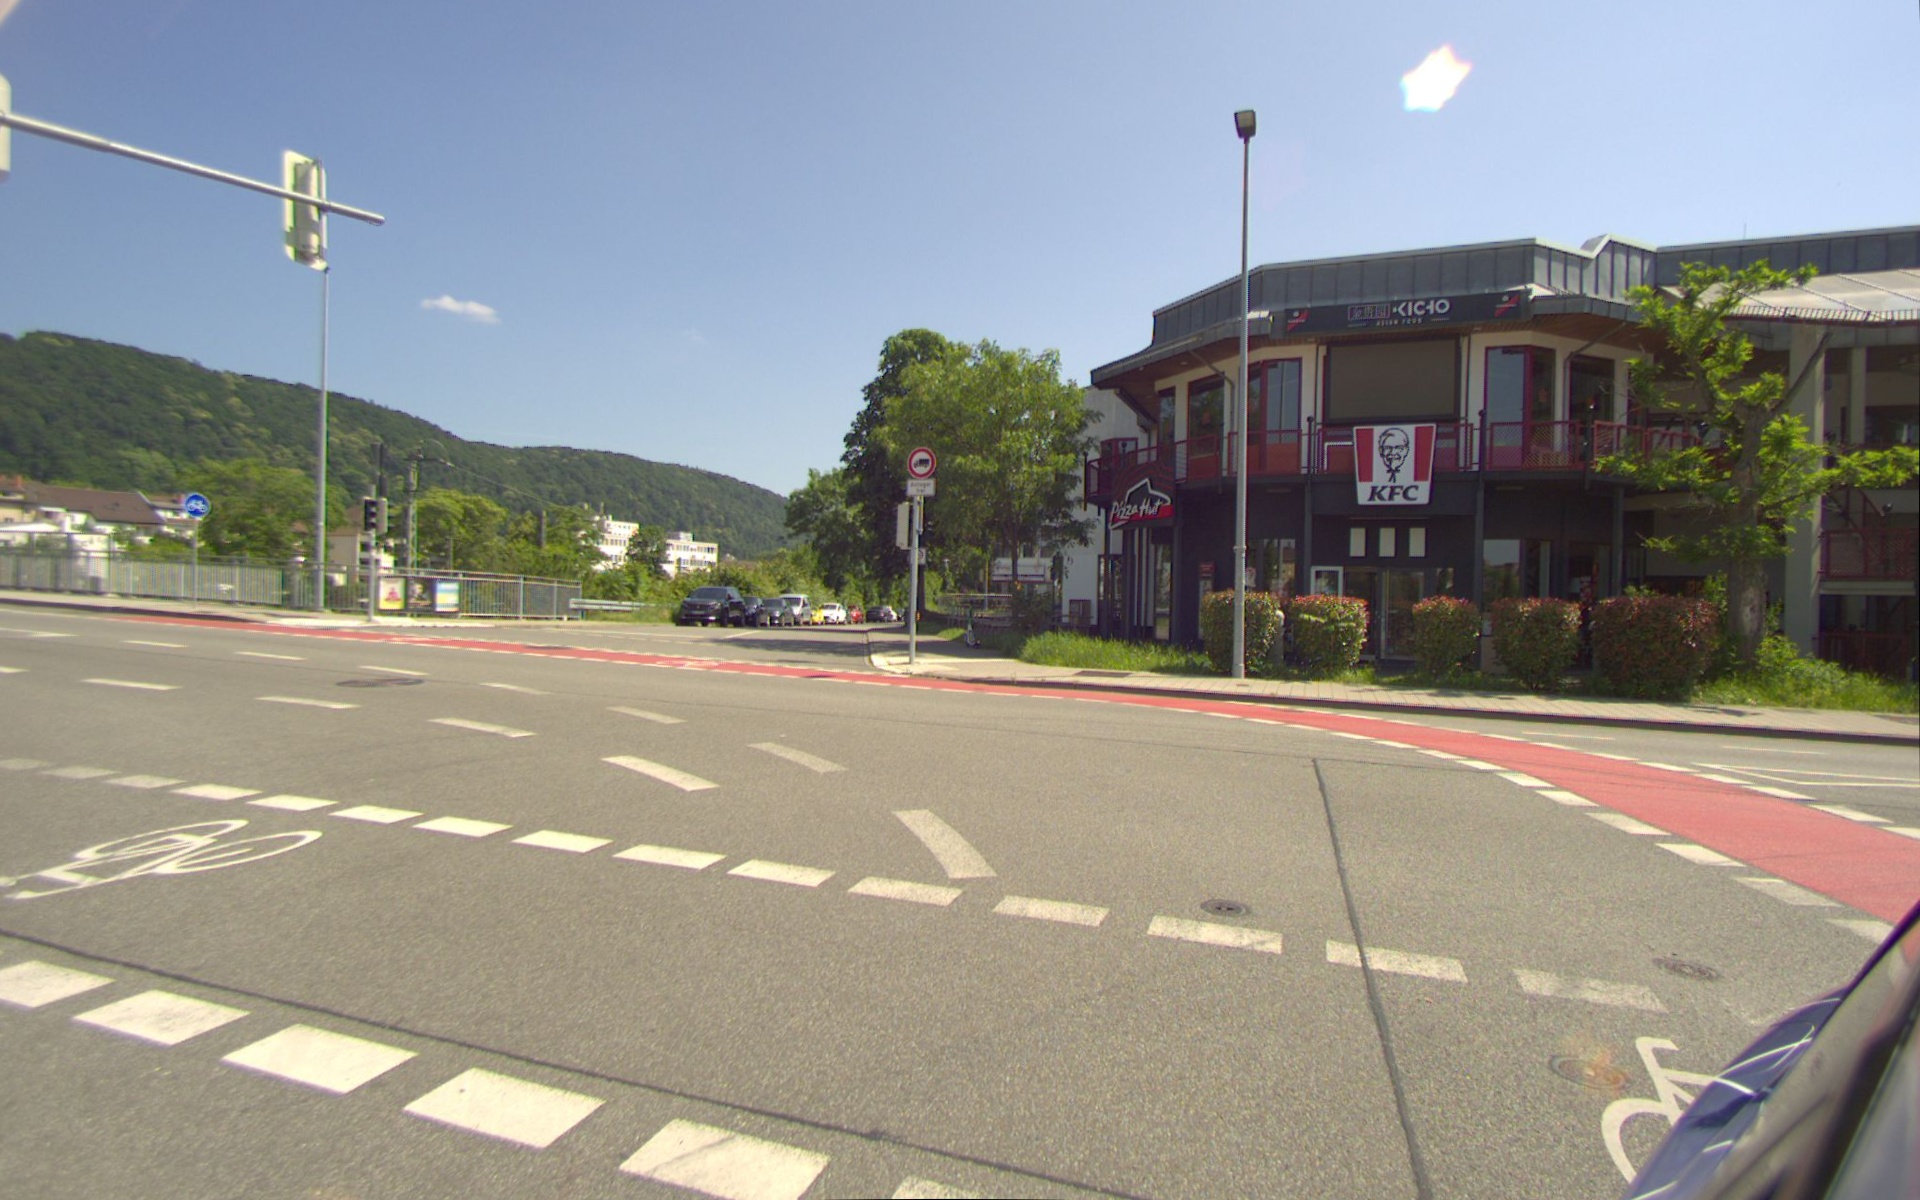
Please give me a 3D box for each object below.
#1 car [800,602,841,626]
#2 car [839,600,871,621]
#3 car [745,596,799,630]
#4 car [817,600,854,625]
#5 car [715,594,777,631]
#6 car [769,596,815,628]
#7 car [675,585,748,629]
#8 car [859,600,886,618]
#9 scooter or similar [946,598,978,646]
[{"bbox_3d":[-8.502,0.840,61.850,1.644,1.334,3.995,1,1,5],"label":"car"},{"bbox_3d":[-7.892,0.796,76.099,1.644,1.453,3.995,1,1,5],"label":"car"},{"bbox_3d":[-9.377,0.608,50.759,1.643,1.552,3.995,1,1,4],"label":"car"},{"bbox_3d":[-8.340,0.791,68.224,1.644,1.552,3.995,1,1,5],"label":"car"},{"bbox_3d":[-9.651,0.525,45.938,1.644,1.552,3.994,1,1,5],"label":"car"},{"bbox_3d":[-9.310,0.617,56.368,1.643,1.655,3.996,1,1,4],"label":"car"},{"bbox_3d":[-9.938,0.234,40.752,1.797,1.647,4.236,1,1,1],"label":"car"},{"bbox_3d":[-7.405,0.759,86.252,1.644,1.453,3.995,1,1,5],"label":"car"},{"bbox_3d":[0.061,0.540,25.152,0.421,1.137,1.445,1,1,14],"label":"scooter or similar"}]
